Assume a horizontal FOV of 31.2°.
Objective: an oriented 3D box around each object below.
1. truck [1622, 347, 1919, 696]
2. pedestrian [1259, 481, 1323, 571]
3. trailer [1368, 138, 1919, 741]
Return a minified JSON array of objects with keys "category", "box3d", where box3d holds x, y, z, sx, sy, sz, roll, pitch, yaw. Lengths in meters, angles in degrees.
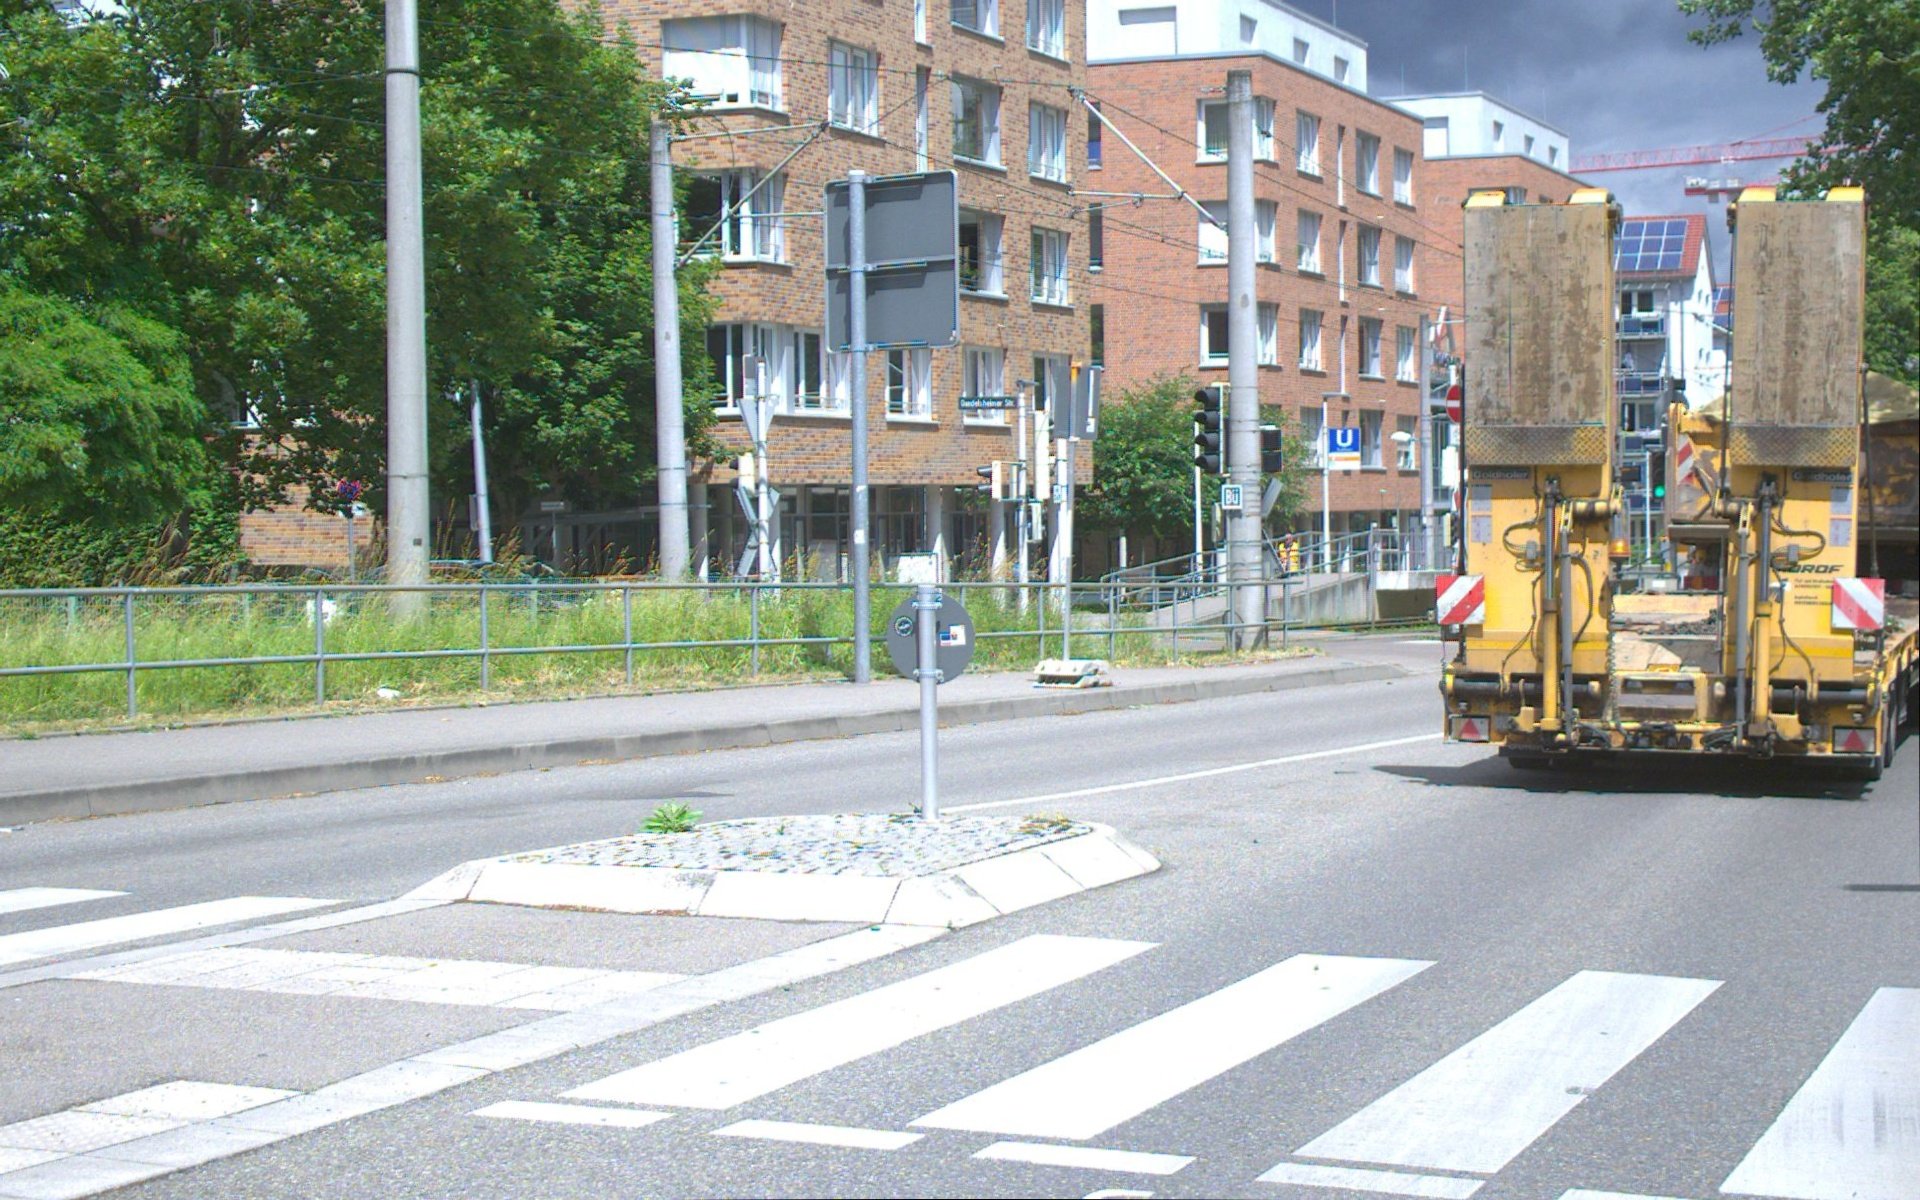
[{"category":"truck","box3d":[8.781,-0.748,34.102,2.991,3.024,8.477,0,1,20]},{"category":"pedestrian","box3d":[7.553,-1.686,78.417,1.139,2.007,0.997,0,1,27]},{"category":"trailer","box3d":[5.450,-0.990,24.861,2.866,3.361,10.832,-1,1,18]}]
